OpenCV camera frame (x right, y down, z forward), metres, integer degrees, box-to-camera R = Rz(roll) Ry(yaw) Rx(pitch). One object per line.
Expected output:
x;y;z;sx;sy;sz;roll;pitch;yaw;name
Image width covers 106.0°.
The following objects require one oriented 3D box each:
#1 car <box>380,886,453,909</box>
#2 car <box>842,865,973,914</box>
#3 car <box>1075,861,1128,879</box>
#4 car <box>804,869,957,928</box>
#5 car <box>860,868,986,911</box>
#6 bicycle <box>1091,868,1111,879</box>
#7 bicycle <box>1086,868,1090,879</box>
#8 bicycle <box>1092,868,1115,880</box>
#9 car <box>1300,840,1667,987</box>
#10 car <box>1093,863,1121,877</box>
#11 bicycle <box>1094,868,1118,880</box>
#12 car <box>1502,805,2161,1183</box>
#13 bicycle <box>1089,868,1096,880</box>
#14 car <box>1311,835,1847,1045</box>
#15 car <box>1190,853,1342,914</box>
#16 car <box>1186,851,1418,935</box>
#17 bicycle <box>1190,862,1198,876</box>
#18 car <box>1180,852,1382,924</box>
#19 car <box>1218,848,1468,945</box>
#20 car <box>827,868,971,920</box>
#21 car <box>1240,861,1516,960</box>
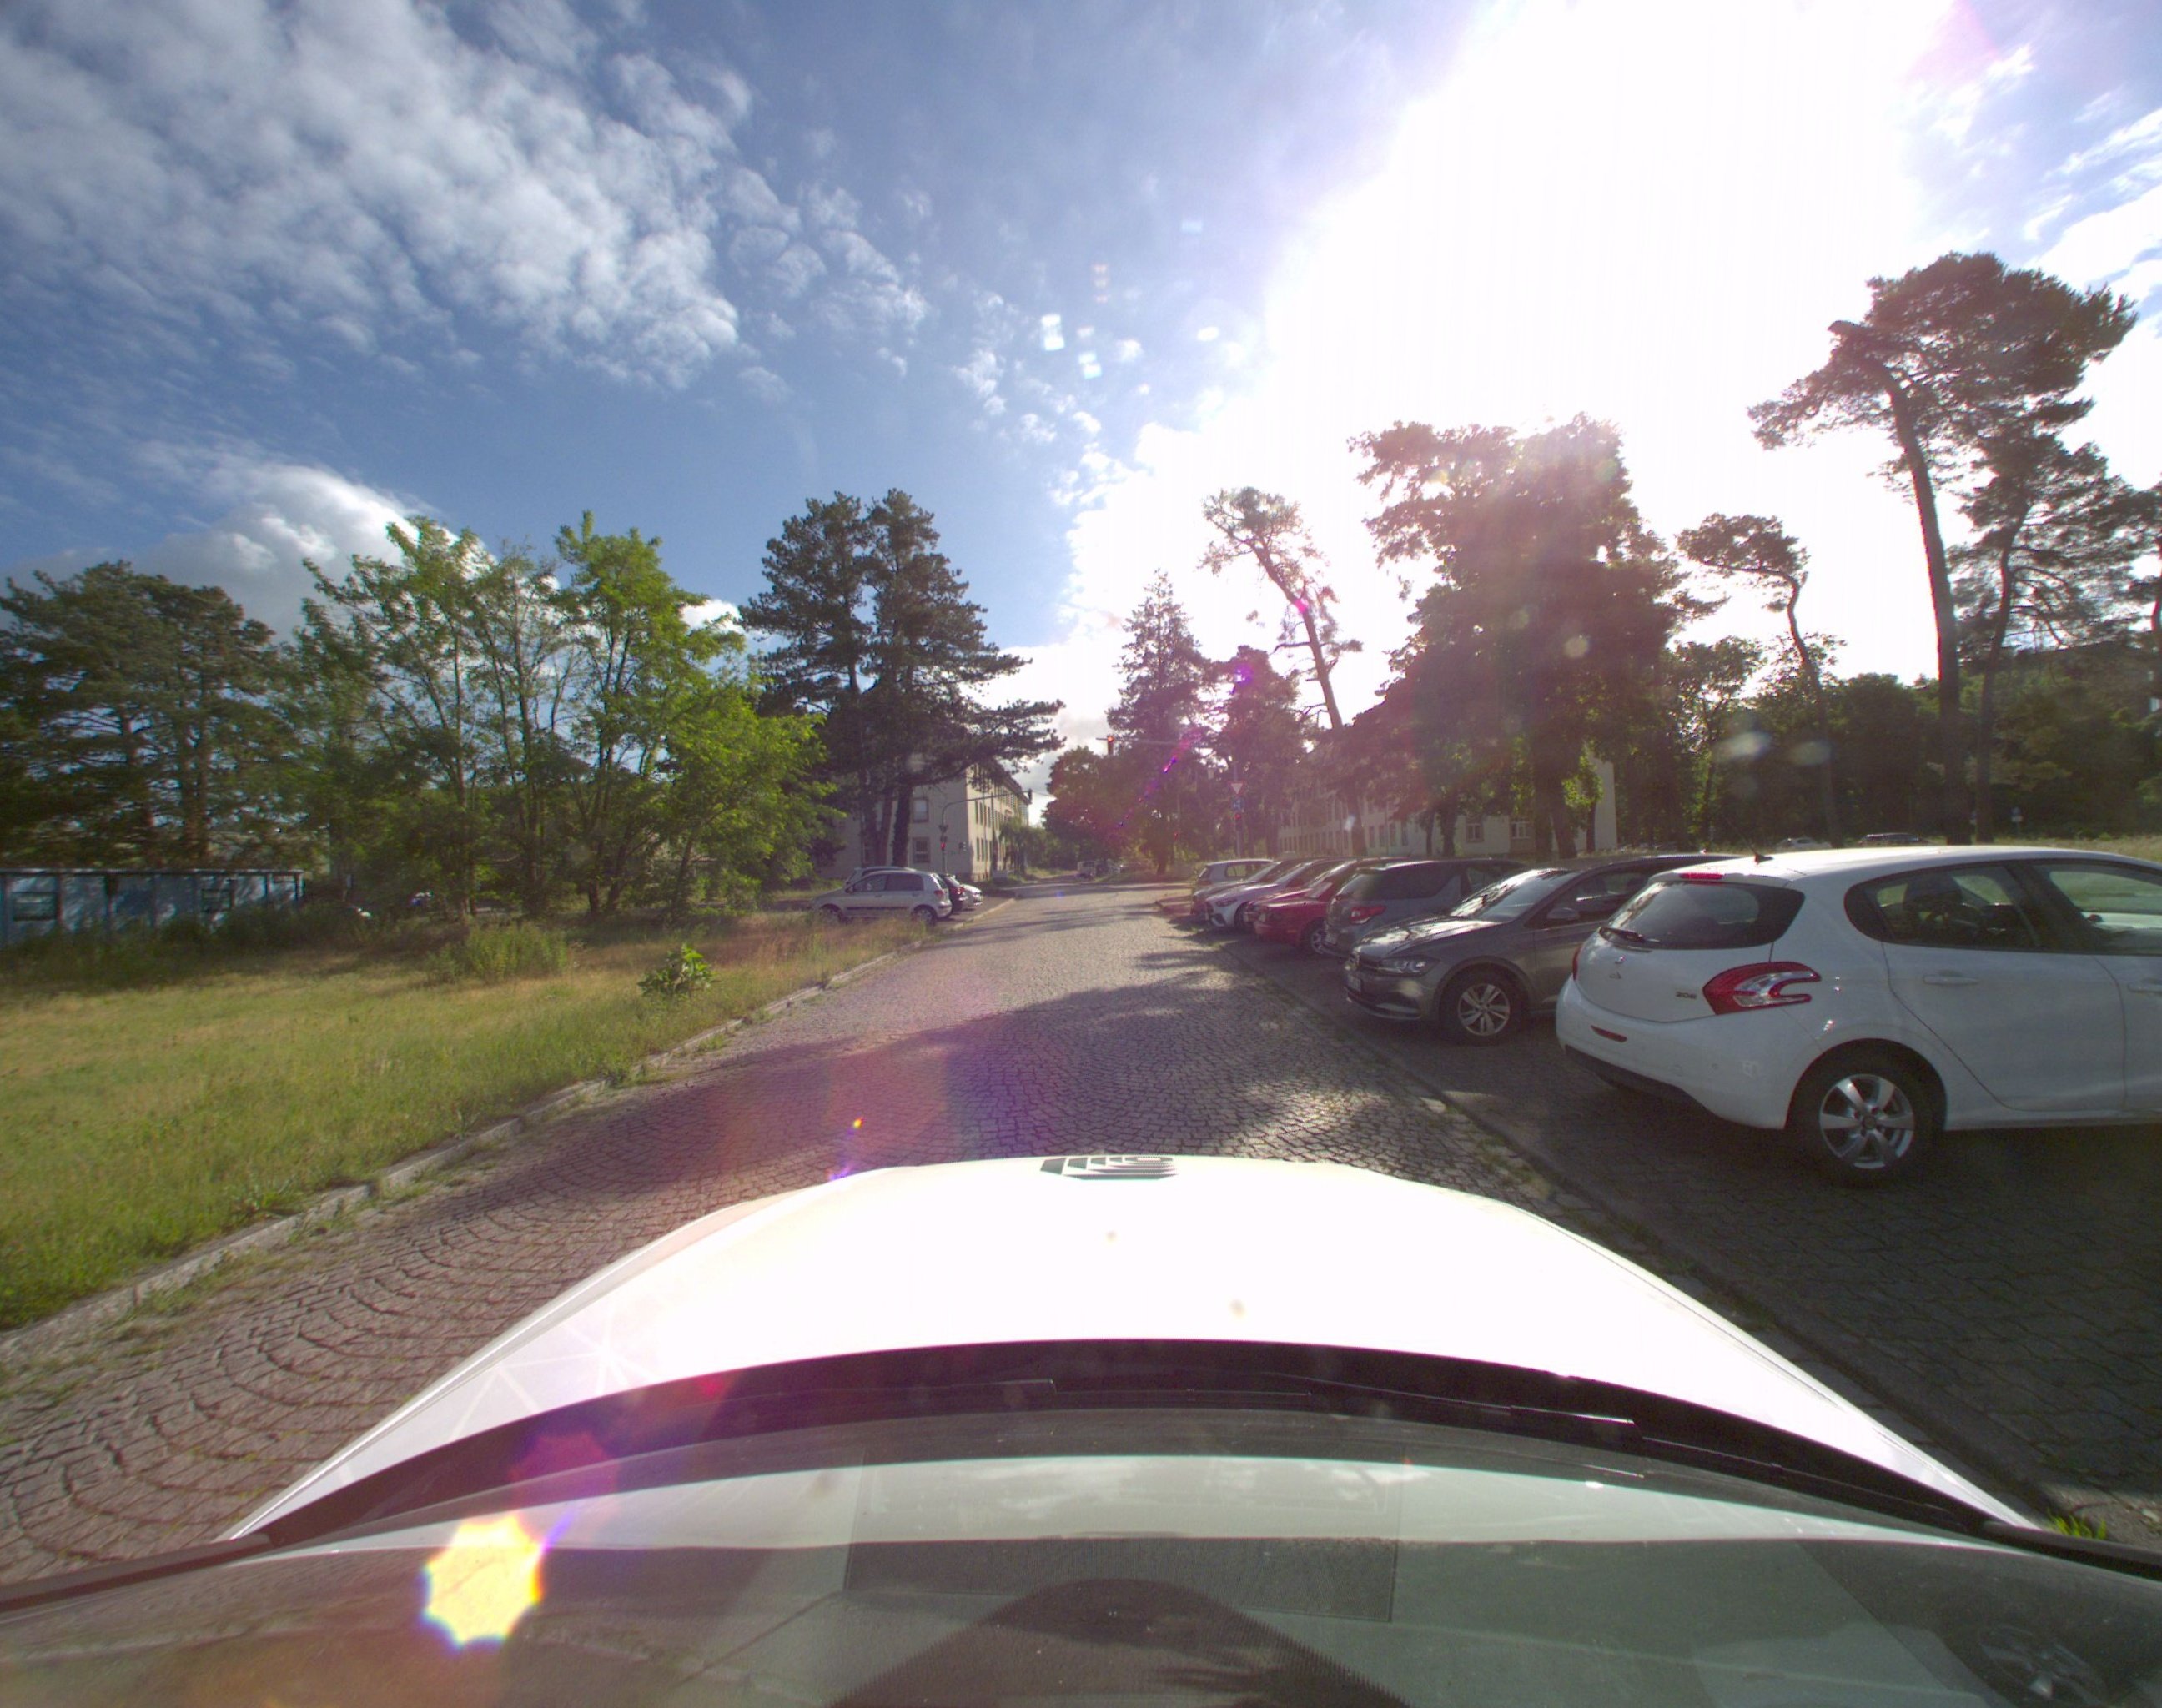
-47.595;3.083;58.450;1.895;1.433;4.001;-2;-1;1;car
-5.789;1.171;27.568;4.070;1.593;1.883;0;0;-3;car
2.263;1.761;89.734;5.535;2.014;1.988;0;-2;-18;car
-5.331;1.163;21.979;3.737;1.487;1.644;0;0;-3;car
-5.723;1.280;29.904;4.323;1.468;1.829;0;0;-3;car
1.841;1.841;75.224;1.836;1.010;0.634;0;-2;-7;bicycle
0.711;1.946;81.414;0.416;1.010;1.483;0;-1;2;bicycle
2.066;1.800;73.467;2.002;1.010;0.630;0;-2;-7;bicycle
4.884;0.688;10.300;3.695;1.449;1.816;-4;0;0;car
2.746;1.742;86.230;2.776;1.467;1.669;0;-1;-4;car
2.193;1.764;71.881;2.107;1.010;0.619;0;-2;-7;bicycle
4.670;0.588;4.512;3.694;1.534;1.761;-4;0;1;car
0.941;1.686;68.206;0.466;1.010;1.584;0;-1;-3;bicycle
4.234;0.692;7.435;3.694;1.449;1.856;-4;0;1;car
5.112;0.796;22.878;3.868;1.415;1.637;-4;0;1;car
4.588;0.800;17.386;4.416;1.415;1.781;-4;0;1;car
8.252;1.112;59.637;0.300;0.961;1.584;0;-1;-3;bicycle
4.825;0.802;20.100;4.543;1.415;1.637;-4;0;1;car
4.788;0.761;15.302;4.113;1.449;1.637;-4;0;1;car
-5.402;1.181;24.605;3.977;1.480;1.801;0;0;-3;car
4.553;0.843;12.901;3.694;1.223;1.747;-4;0;1;car
